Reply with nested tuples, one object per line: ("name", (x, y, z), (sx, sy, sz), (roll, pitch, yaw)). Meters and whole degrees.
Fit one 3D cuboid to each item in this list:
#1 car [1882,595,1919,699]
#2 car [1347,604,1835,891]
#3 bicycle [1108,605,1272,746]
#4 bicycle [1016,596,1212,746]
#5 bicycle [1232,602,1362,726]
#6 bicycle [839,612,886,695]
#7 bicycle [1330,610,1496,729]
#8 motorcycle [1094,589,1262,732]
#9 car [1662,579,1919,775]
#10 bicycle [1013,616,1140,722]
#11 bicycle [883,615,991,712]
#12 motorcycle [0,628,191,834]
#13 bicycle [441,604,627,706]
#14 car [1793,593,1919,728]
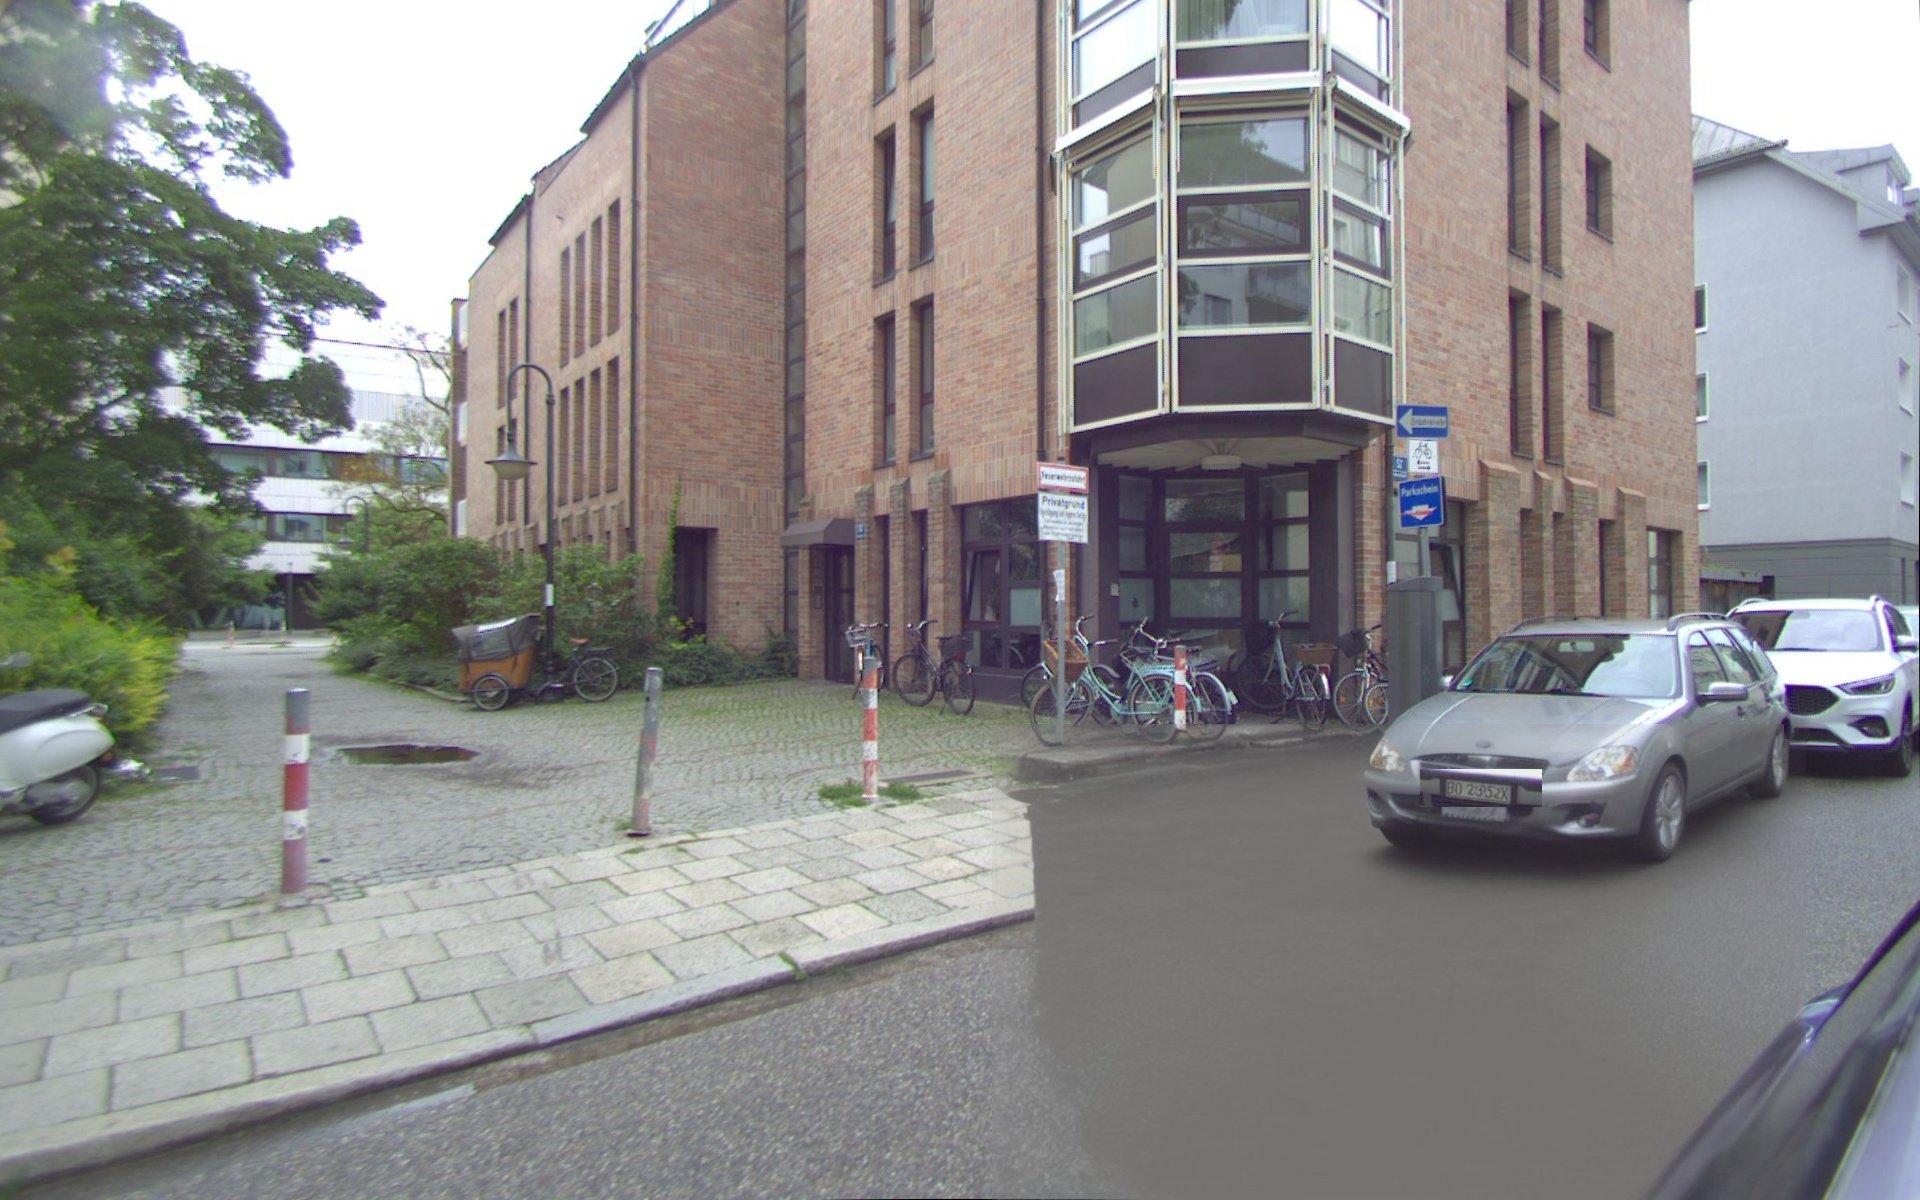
("car", (16.475, 0.710, 16.494), (3.980, 1.600, 1.618), (0, -2, -40))
("car", (4.681, 0.776, 7.230), (4.282, 1.453, 1.723), (0, -2, -40))
("bicycle", (2.216, 0.686, 9.974), (0.434, 1.201, 1.756), (0, 2, -32))
("bicycle", (1.474, 0.643, 9.787), (1.787, 1.339, 0.582), (0, 0, 27))
("bicycle", (3.736, 0.659, 11.393), (0.581, 1.245, 1.880), (0, 1, -9))
("bicycle", (-1.361, 0.727, 14.299), (0.435, 1.086, 1.425), (0, 0, 4))
("bicycle", (5.133, 0.749, 11.459), (1.743, 1.232, 0.744), (0, 0, -24))
("motorcycle", (2.323, 0.604, 10.970), (0.543, 1.402, 1.762), (1, 1, -43))
("car", (9.028, 0.662, 10.548), (4.376, 1.636, 1.723), (0, -2, -40))
("bicycle", (1.285, 0.742, 11.514), (0.434, 1.086, 1.755), (0, 0, -32))
("bicycle", (-0.323, 0.752, 12.623), (0.434, 1.086, 1.887), (0, 0, -32))
("motorcycle", (-5.702, 0.755, 5.970), (0.612, 1.136, 1.865), (1, -1, 13))
("bicycle", (-5.871, 0.741, 14.048), (2.219, 1.285, 0.810), (-2, -1, -5))
("car", (12.411, 0.713, 13.282), (3.740, 1.578, 1.618), (0, -2, -40))
